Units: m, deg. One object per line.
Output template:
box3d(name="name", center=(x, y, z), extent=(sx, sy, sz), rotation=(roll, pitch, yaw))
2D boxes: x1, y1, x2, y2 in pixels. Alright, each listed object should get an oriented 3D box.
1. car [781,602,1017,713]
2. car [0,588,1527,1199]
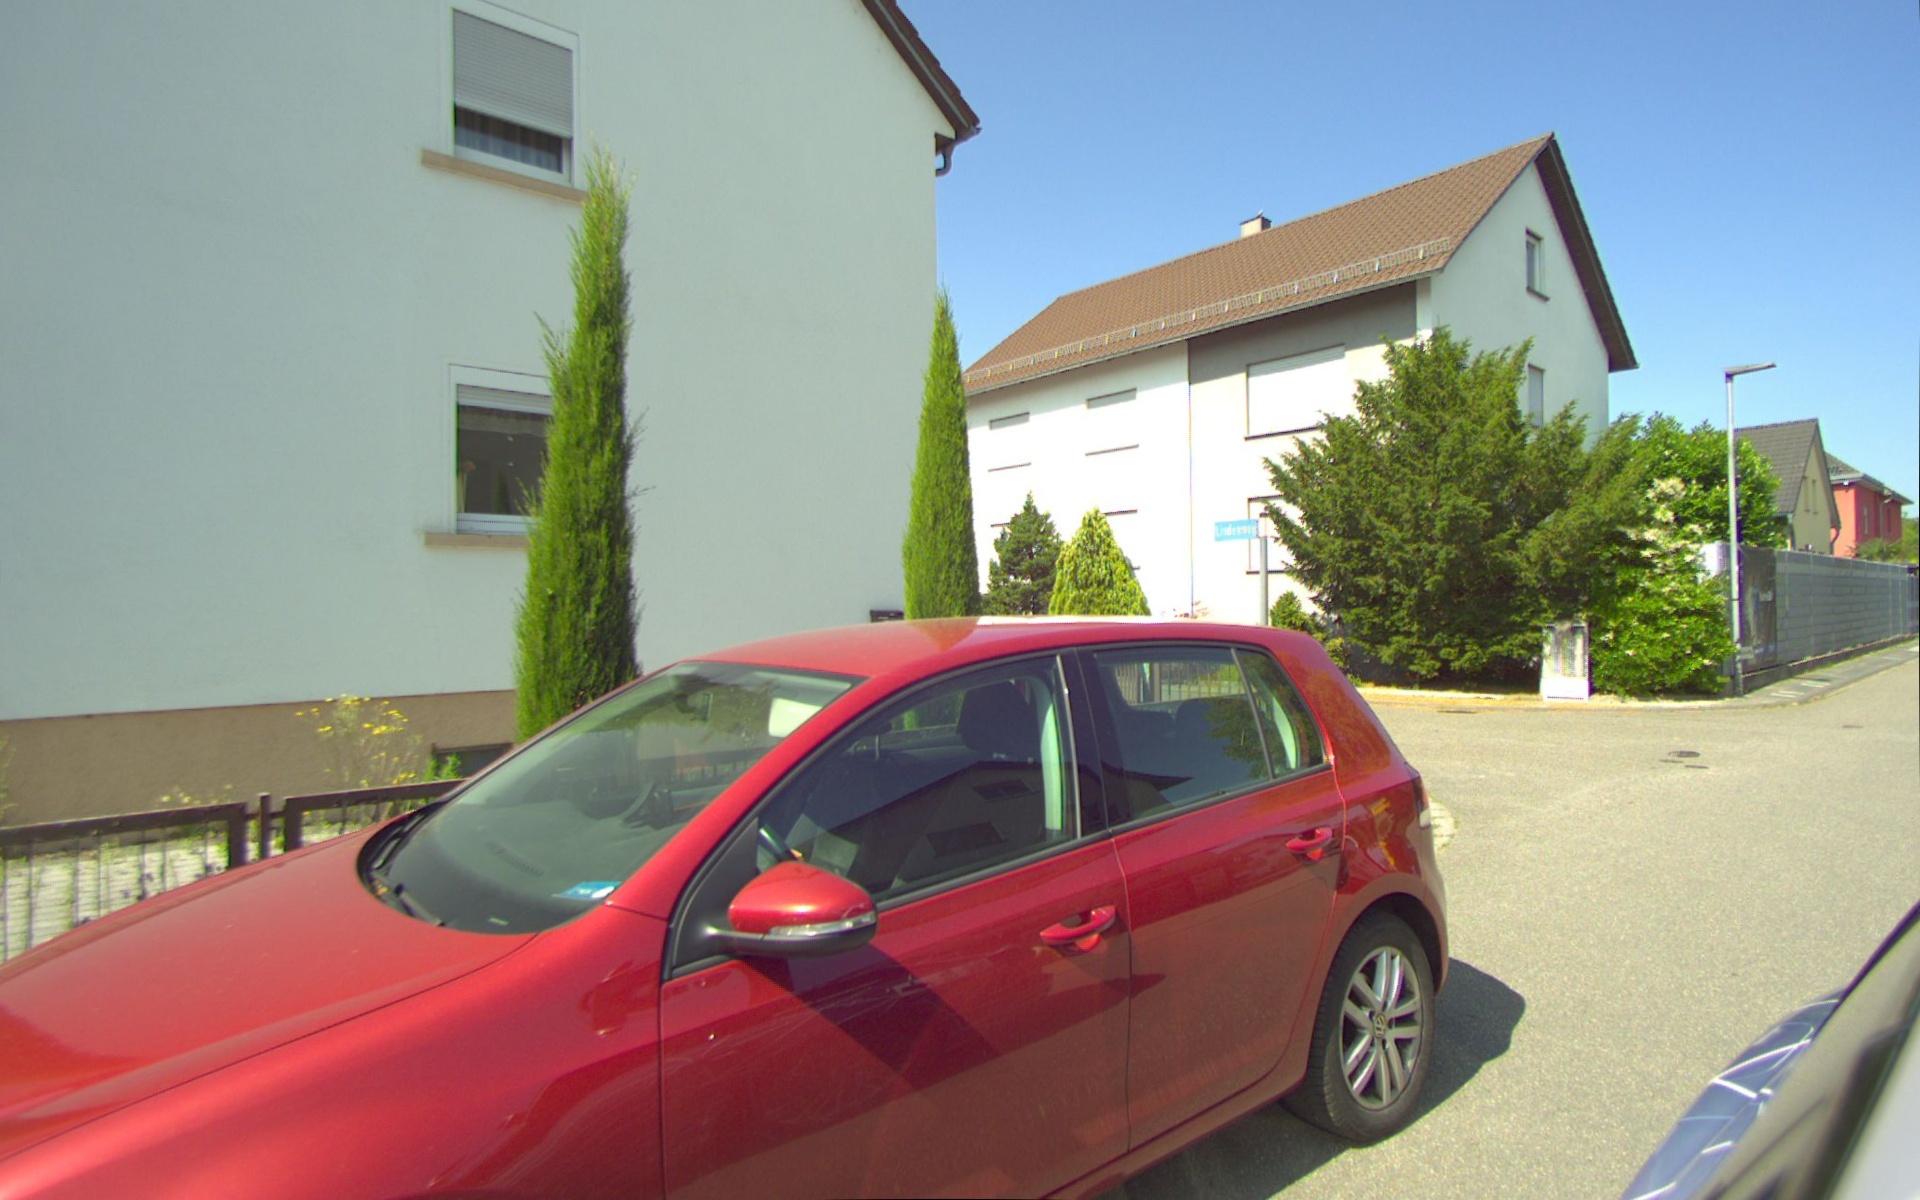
box3d(name="car", center=(-1.103, 0.832, 16.387), extent=(1.766, 1.549, 3.992), rotation=(0, 0, -41))
box3d(name="car", center=(-0.299, 0.762, 2.756), extent=(3.927, 1.498, 1.779), rotation=(-1, -2, -38))
